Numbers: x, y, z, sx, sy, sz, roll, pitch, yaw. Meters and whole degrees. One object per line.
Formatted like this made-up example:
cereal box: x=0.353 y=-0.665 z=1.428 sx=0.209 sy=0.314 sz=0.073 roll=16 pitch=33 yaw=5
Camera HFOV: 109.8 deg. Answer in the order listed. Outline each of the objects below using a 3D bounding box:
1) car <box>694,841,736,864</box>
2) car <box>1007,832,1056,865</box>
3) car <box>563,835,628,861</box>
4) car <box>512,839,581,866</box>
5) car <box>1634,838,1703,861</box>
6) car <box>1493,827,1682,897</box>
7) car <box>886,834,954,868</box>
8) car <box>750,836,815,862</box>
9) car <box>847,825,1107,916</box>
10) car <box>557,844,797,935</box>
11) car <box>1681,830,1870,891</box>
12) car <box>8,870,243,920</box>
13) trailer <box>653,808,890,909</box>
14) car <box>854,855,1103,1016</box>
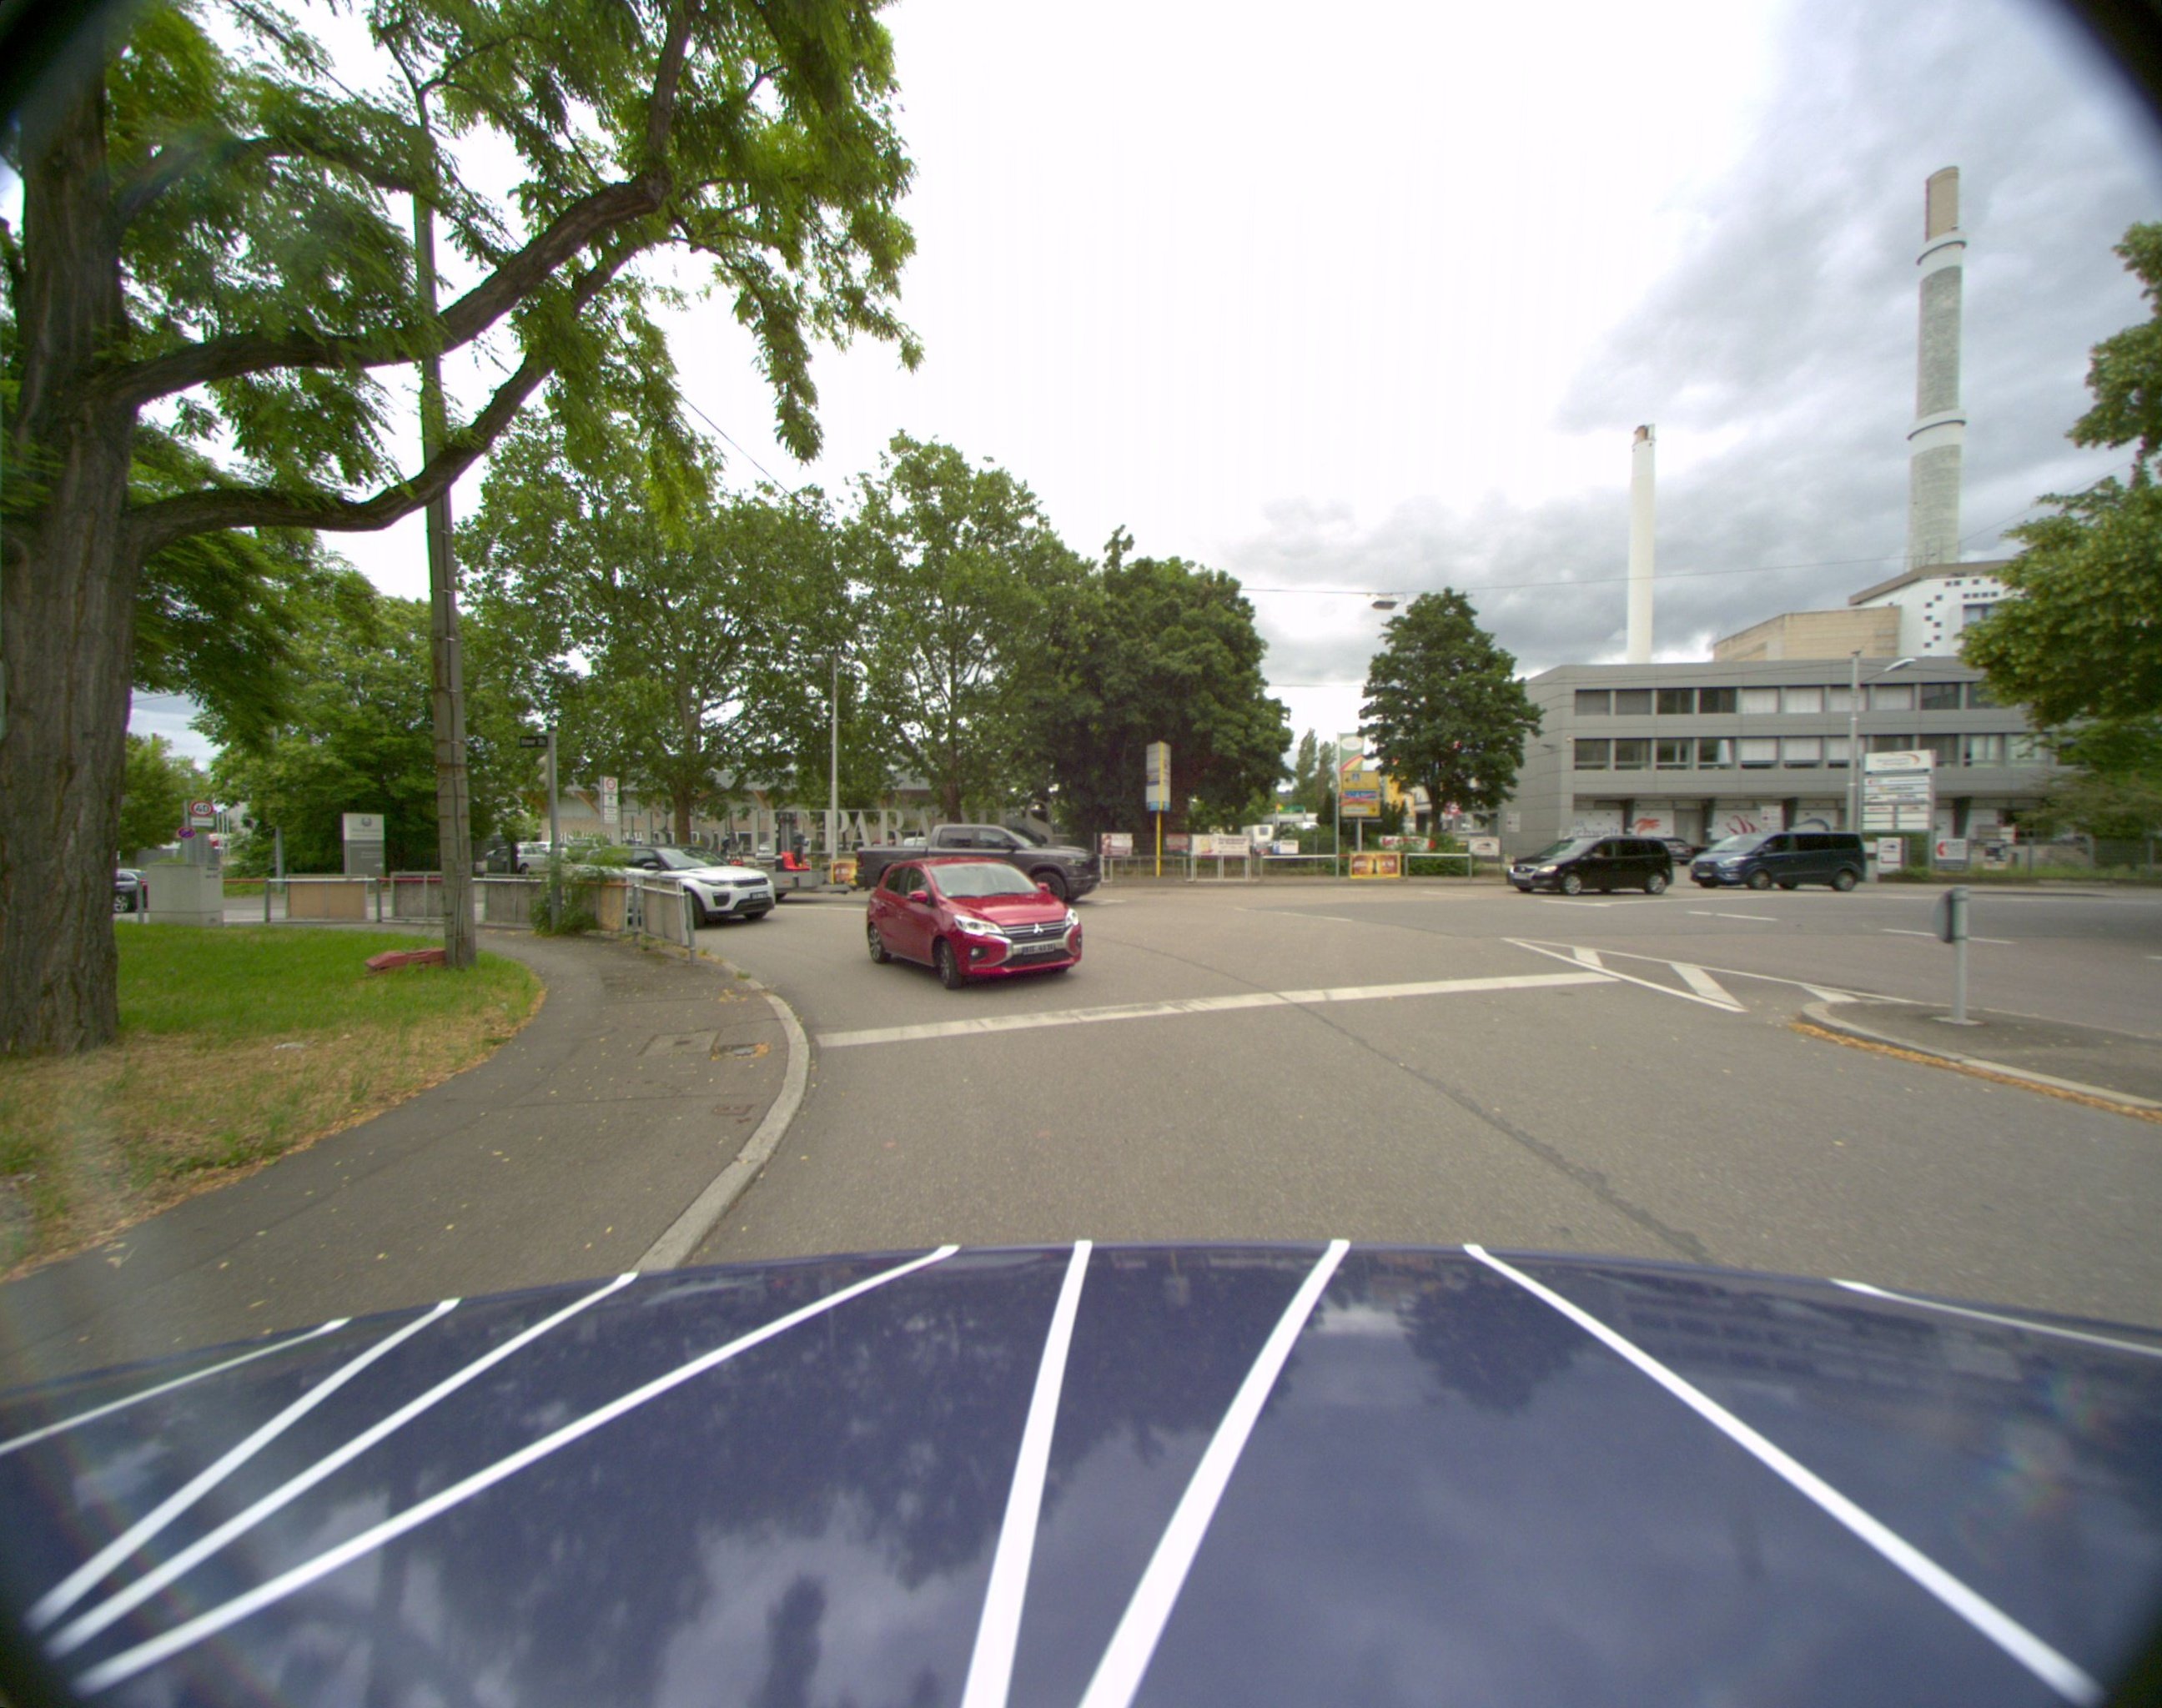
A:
car: x=-30.761 y=-0.137 z=63.951 sx=1.753 sy=1.675 sz=3.570 roll=-4 pitch=2 yaw=-2
car: x=-2.529 y=-0.336 z=39.848 sx=1.998 sy=1.449 sz=4.699 roll=-4 pitch=2 yaw=2
car: x=-32.691 y=-0.446 z=51.327 sx=1.915 sy=1.690 sz=3.998 roll=0 pitch=1 yaw=-3
car: x=-35.838 y=-0.132 z=51.040 sx=1.915 sy=1.690 sz=3.998 roll=0 pitch=1 yaw=-3
car: x=35.096 y=-0.299 z=45.505 sx=1.775 sy=1.172 sz=3.573 roll=-3 pitch=2 yaw=10
car: x=13.885 y=0.211 z=20.917 sx=4.231 sy=1.761 sz=1.831 roll=1 pitch=1 yaw=-11
car: x=-8.372 y=-0.199 z=40.013 sx=1.997 sy=1.449 sz=4.700 roll=-3 pitch=2 yaw=7
car: x=-20.174 y=-0.368 z=51.633 sx=1.937 sy=1.423 sz=5.250 roll=-3 pitch=2 yaw=3
car: x=-2.445 y=0.297 z=18.280 sx=5.860 sy=1.969 sz=1.952 roll=1 pitch=3 yaw=14
car: x=-8.186 y=0.664 z=15.497 sx=4.104 sy=1.561 sz=1.919 roll=-1 pitch=4 yaw=18
car: x=23.239 y=0.193 z=25.515 sx=4.800 sy=1.934 sz=1.832 roll=0 pitch=1 yaw=-3
car: x=-31.482 y=1.386 z=25.147 sx=5.217 sy=1.447 sz=2.002 roll=1 pitch=-5 yaw=1
trailer: x=-7.912 y=0.097 z=19.566 sx=5.378 sy=2.374 sz=2.153 roll=0 pitch=1 yaw=14
car: x=-1.501 y=0.840 z=9.821 sx=1.771 sy=1.521 sz=3.730 roll=-3 pitch=3 yaw=-32
